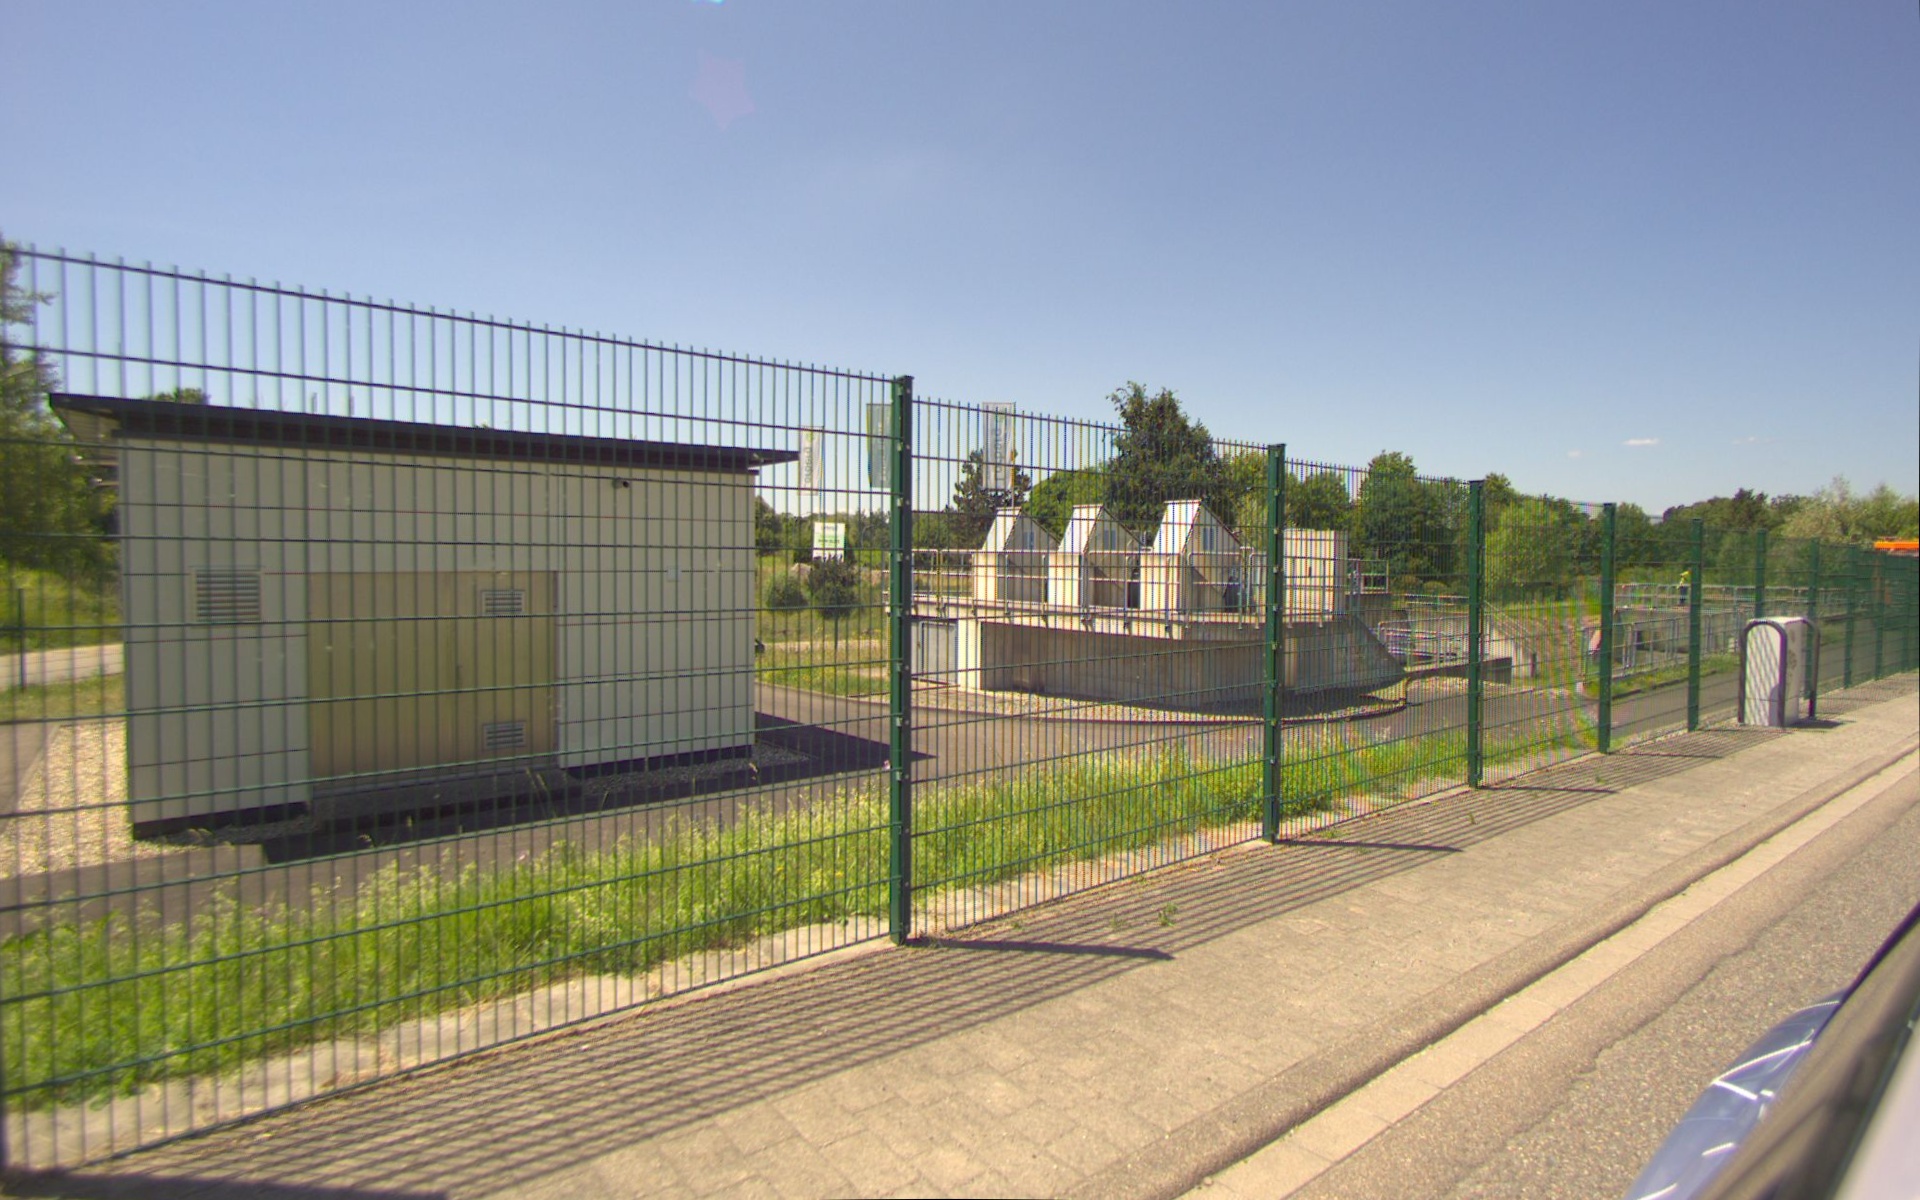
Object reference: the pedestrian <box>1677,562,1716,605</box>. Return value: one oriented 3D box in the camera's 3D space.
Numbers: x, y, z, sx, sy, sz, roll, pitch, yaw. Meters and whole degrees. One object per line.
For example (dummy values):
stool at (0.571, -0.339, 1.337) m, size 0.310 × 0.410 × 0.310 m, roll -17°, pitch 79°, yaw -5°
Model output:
pedestrian at (35.520, -0.812, 48.814) m, size 1.195 × 2.039 × 1.304 m, roll 0°, pitch 0°, yaw -40°

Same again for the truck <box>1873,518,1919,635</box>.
truck at (37.919, -0.904, 39.386) m, size 7.995 × 4.249 × 2.843 m, roll -1°, pitch 1°, yaw -43°
